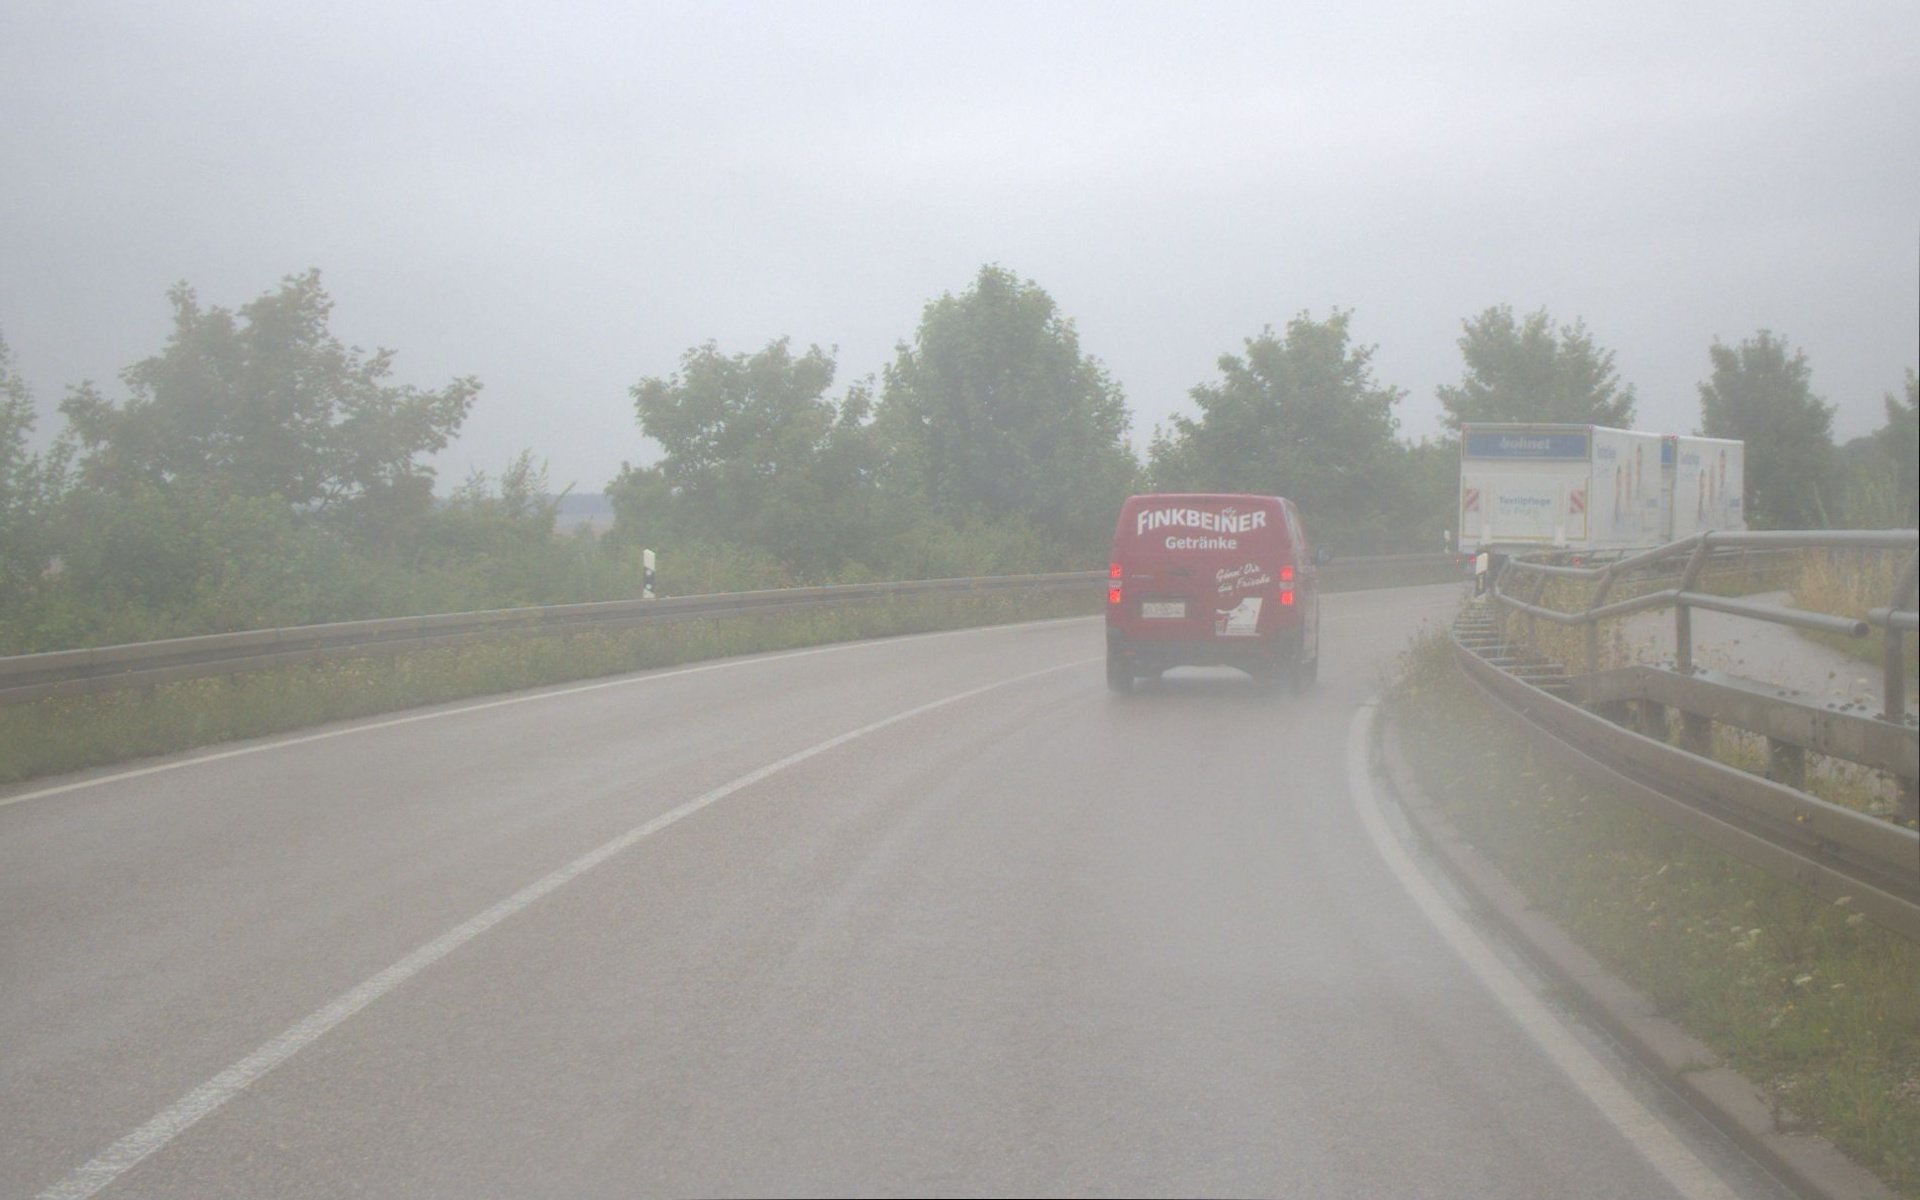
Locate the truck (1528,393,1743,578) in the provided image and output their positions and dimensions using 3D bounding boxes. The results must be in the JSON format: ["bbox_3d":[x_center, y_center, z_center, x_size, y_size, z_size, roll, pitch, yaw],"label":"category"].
[{"bbox_3d":[15.309,-2.536,77.312,3.205,3.908,8.730,1,2,21],"label":"truck"}]

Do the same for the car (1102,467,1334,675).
[{"bbox_3d":[2.618,-0.334,34.044,1.994,1.919,4.142,0,2,8],"label":"car"}]

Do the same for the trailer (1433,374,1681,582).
[{"bbox_3d":[12.136,-2.401,69.176,3.205,3.908,8.730,1,2,21],"label":"trailer"}]
